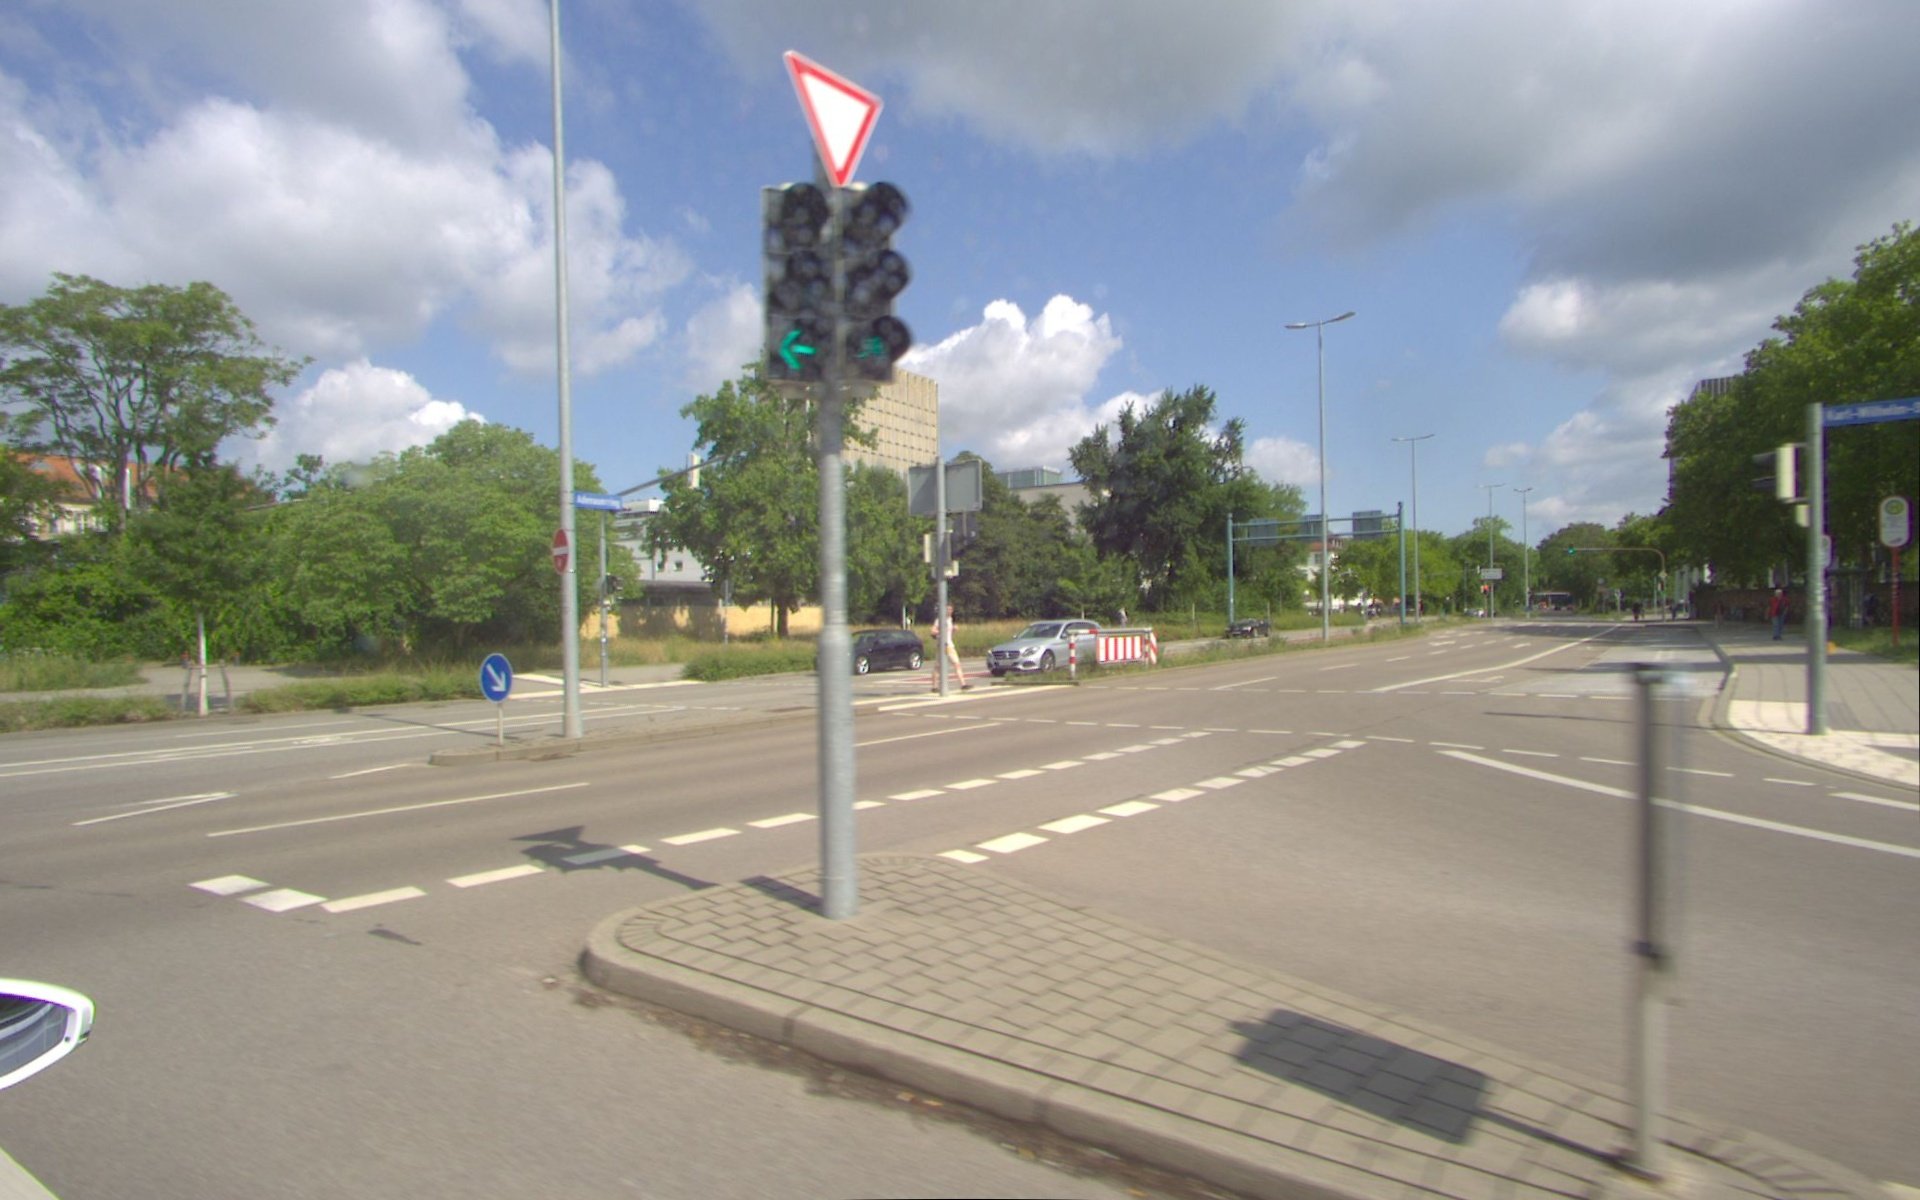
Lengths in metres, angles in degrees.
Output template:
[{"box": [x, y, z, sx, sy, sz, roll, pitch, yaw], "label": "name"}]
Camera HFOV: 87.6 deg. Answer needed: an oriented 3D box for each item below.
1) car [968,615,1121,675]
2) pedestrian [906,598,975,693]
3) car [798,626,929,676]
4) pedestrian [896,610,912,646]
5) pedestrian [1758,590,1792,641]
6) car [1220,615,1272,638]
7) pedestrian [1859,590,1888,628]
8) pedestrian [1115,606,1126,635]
[{"box": [2.481, 1.234, 28.294, 2.037, 1.460, 4.746, -4, -2, 37], "label": "car"}, {"box": [-0.401, 0.941, 20.687, 1.161, 1.881, 0.697, -3, 0, 23], "label": "pedestrian"}, {"box": [-3.080, 1.618, 32.670, 1.975, 1.395, 4.131, 0, 0, 37], "label": "car"}, {"box": [-2.595, 1.301, 46.180, 0.534, 1.628, 0.522, 0, -2, 29], "label": "pedestrian"}, {"box": [29.286, 0.563, 35.977, 0.738, 1.803, 0.961, -2, 0, 28], "label": "pedestrian"}, {"box": [17.538, 1.629, 61.304, 1.775, 1.289, 3.972, -1, 0, 37], "label": "car"}, {"box": [43.777, 0.415, 47.988, 0.874, 1.803, 0.766, -1, 0, 33], "label": "pedestrian"}, {"box": [10.270, 1.320, 64.174, 0.534, 1.791, 0.522, 0, -2, 29], "label": "pedestrian"}]
